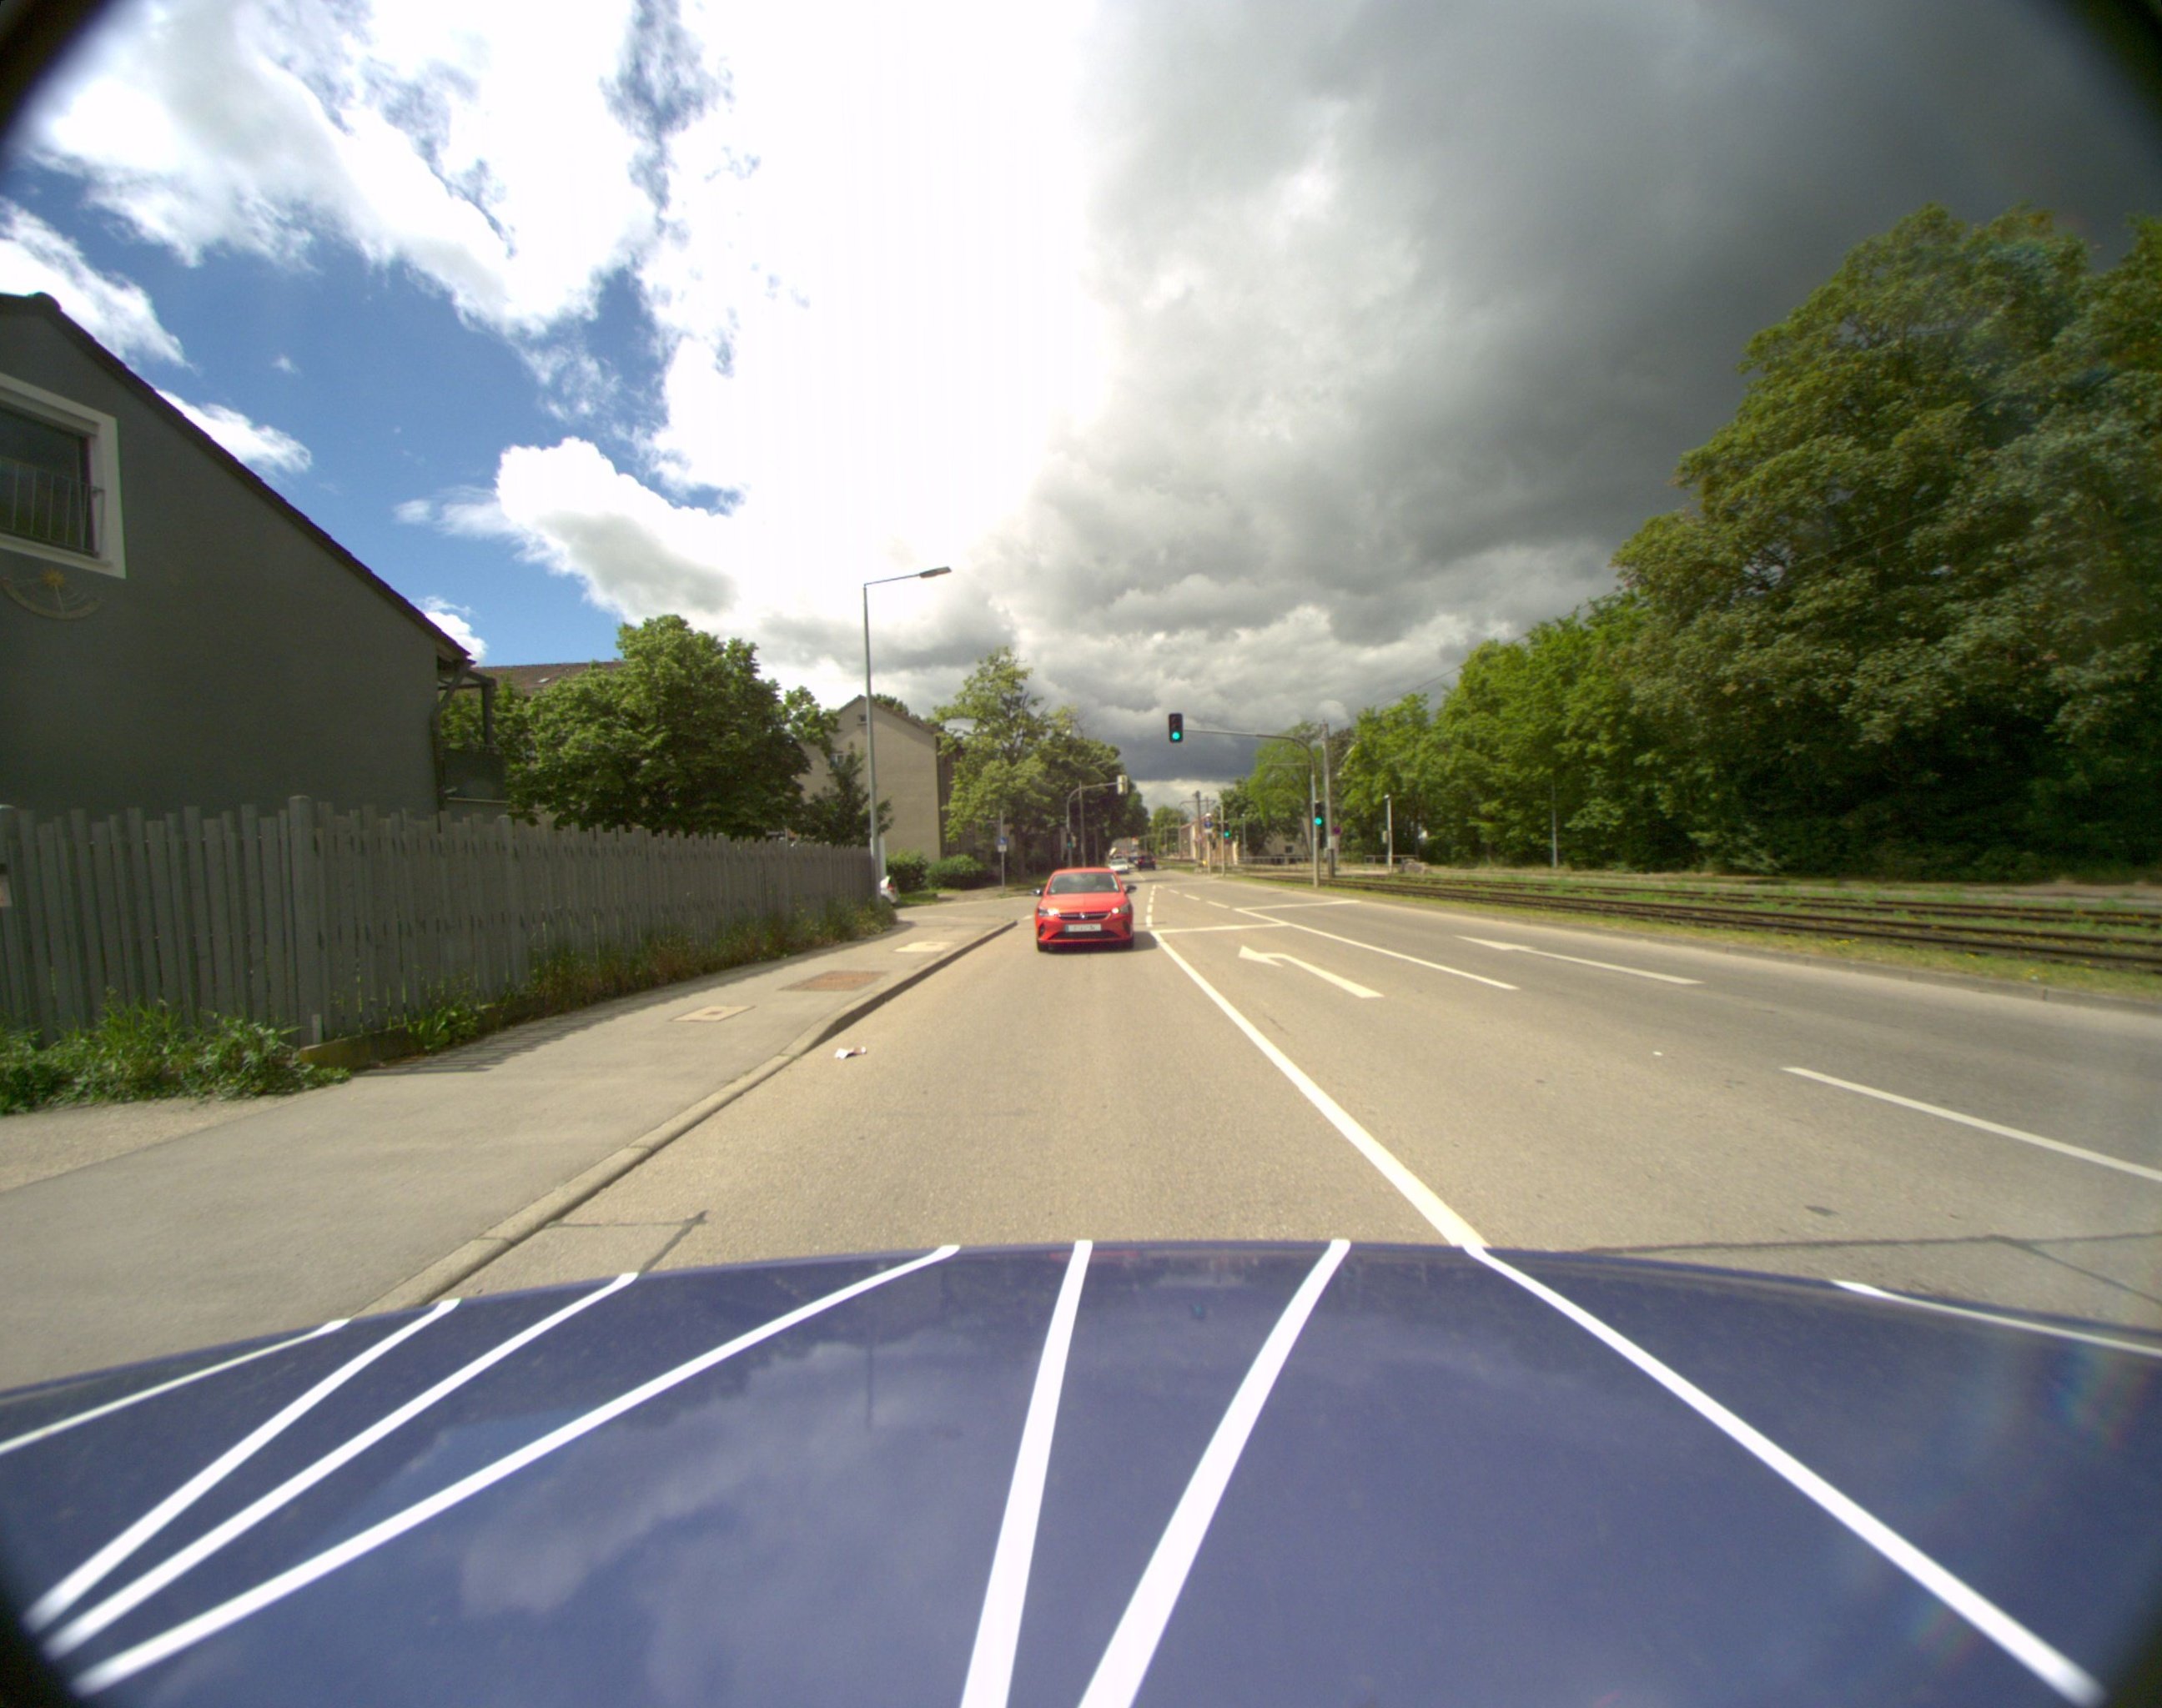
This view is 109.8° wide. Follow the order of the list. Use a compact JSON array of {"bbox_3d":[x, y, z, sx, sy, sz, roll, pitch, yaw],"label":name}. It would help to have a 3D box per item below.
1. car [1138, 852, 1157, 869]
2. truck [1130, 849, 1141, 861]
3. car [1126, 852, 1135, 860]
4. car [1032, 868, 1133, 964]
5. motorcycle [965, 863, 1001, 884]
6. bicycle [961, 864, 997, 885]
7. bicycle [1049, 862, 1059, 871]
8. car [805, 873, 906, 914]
[{"bbox_3d":[7.210,0.730,82.885,1.711,1.666,4.228,-4,0,1],"label":"car"},{"bbox_3d":[13.090,0.190,183.080,2.096,2.723,5.097,-4,1,0],"label":"truck"},{"bbox_3d":[9.620,0.440,147.988,1.585,1.476,3.807,-4,0,4],"label":"car"},{"bbox_3d":[0.118,1.062,14.460,1.665,1.512,3.787,0,0,3],"label":"car"},{"bbox_3d":[-6.555,1.323,50.964,2.208,1.275,0.681,-2,1,11],"label":"motorcycle"},{"bbox_3d":[-6.729,1.337,50.183,2.170,1.275,0.681,-2,1,11],"label":"bicycle"},{"bbox_3d":[-3.600,1.663,100.448,0.437,1.074,1.750,-5,1,-32],"label":"bicycle"},{"bbox_3d":[-10.149,1.771,34.432,3.998,1.545,1.938,-3,0,-5],"label":"car"}]
